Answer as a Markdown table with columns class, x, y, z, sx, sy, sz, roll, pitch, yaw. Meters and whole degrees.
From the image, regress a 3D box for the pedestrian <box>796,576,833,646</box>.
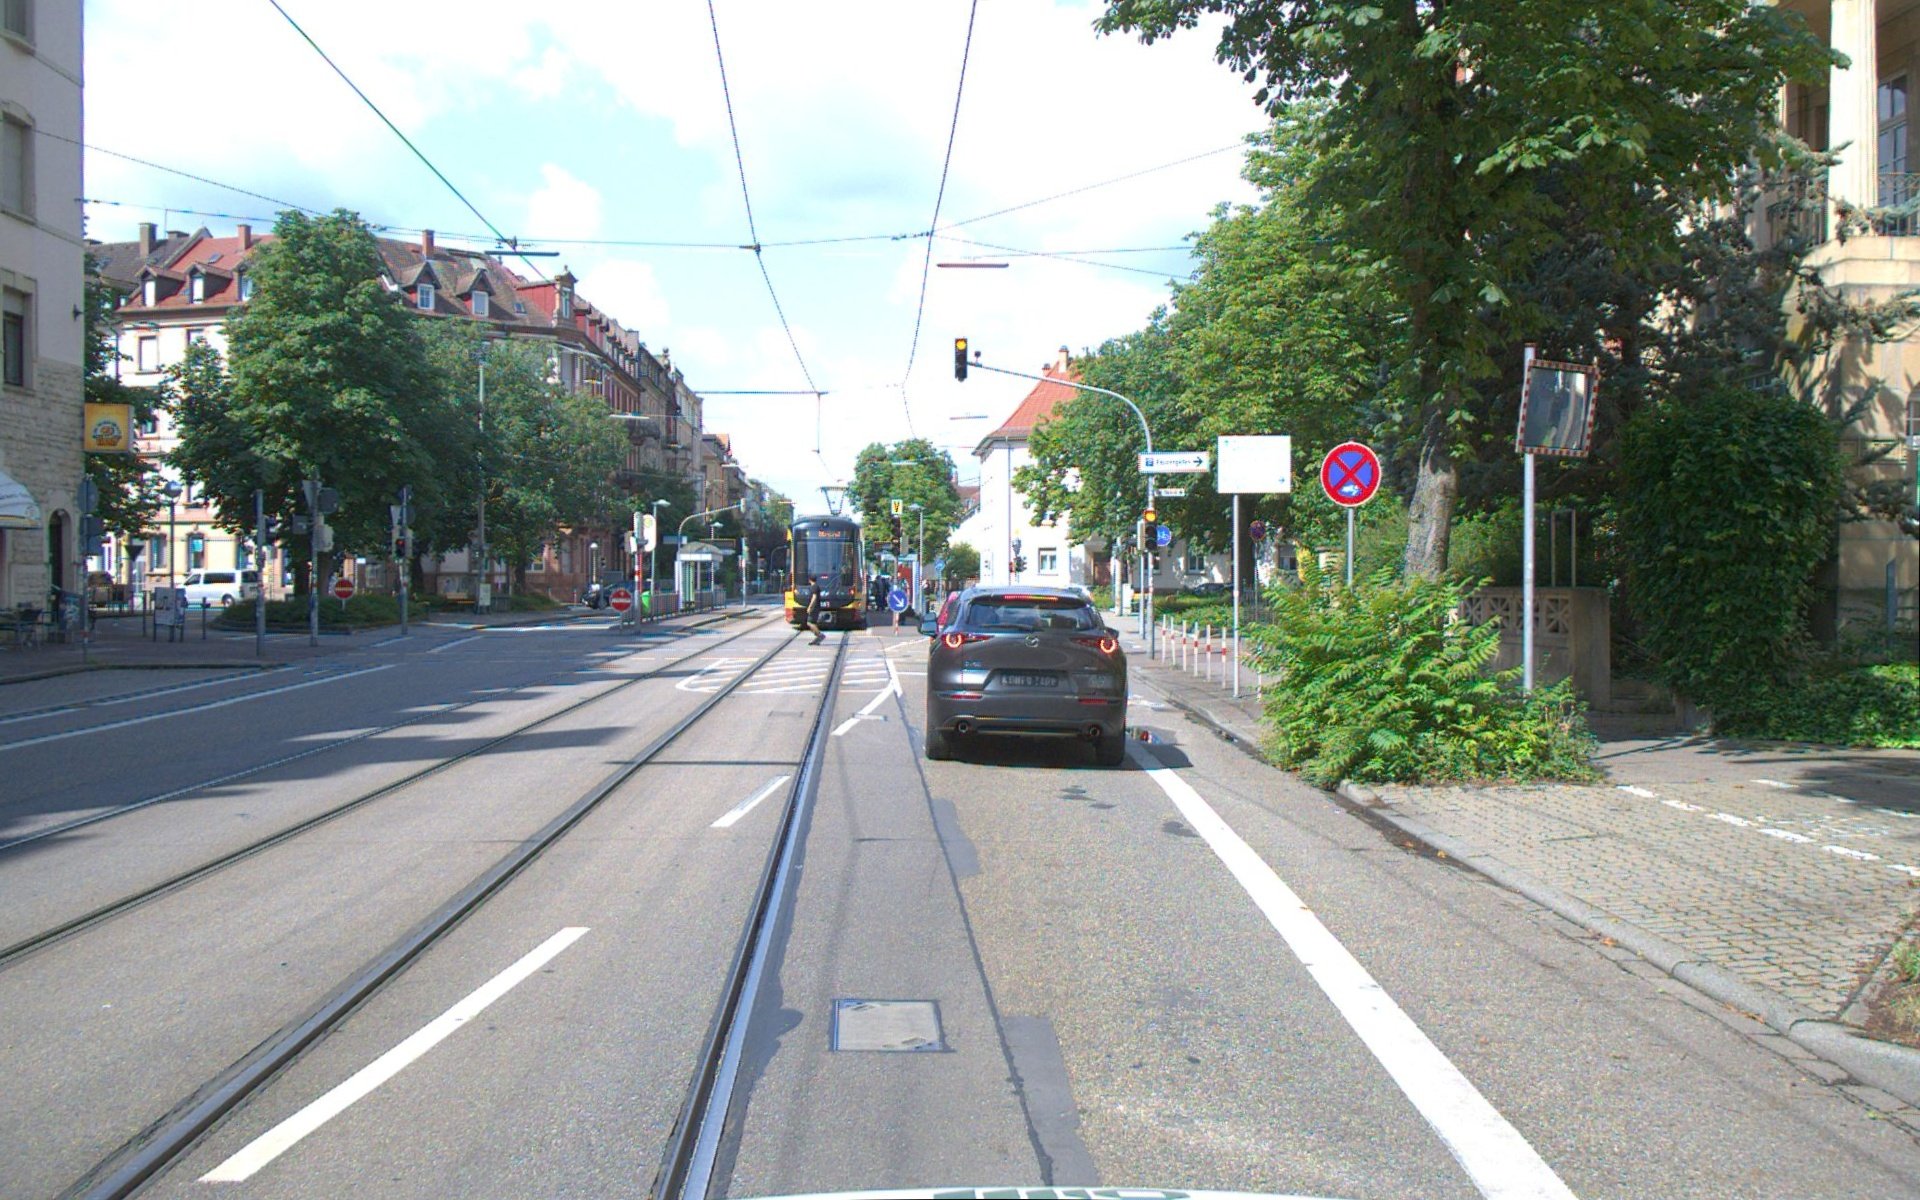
| class | x | y | z | sx | sy | sz | roll | pitch | yaw |
| --- | --- | --- | --- | --- | --- | --- | --- | --- | --- |
| pedestrian | -3.458 | 0.259 | 39.326 | 0.858 | 1.633 | 0.631 | 0 | 0 | -6 |

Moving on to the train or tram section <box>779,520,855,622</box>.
| class | x | y | z | sx | sy | sz | roll | pitch | yaw |
| --- | --- | --- | --- | --- | --- | --- | --- | --- | --- |
| train or tram section | -5.536 | -1.048 | 62.872 | 2.601 | 3.589 | 8.484 | -1 | 0 | -7 |

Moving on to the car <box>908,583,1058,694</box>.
| class | x | y | z | sx | sy | sz | roll | pitch | yaw |
| --- | --- | --- | --- | --- | --- | --- | --- | --- | --- |
| car | 0.251 | 0.510 | 25.594 | 1.750 | 1.518 | 4.877 | 0 | 1 | -6 |

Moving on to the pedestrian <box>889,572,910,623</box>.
| class | x | y | z | sx | sy | sz | roll | pitch | yaw |
| --- | --- | --- | --- | --- | --- | --- | --- | --- | --- |
| pedestrian | -1.981 | -0.083 | 53.931 | 0.654 | 1.633 | 0.699 | 0 | 0 | -5 |

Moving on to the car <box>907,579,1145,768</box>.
| class | x | y | z | sx | sy | sz | roll | pitch | yaw |
| --- | --- | --- | --- | --- | --- | --- | --- | --- | --- |
| car | 0.486 | 0.591 | 15.920 | 1.754 | 1.538 | 4.347 | 1 | 1 | -5 |

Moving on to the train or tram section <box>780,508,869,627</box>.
| class | x | y | z | sx | sy | sz | roll | pitch | yaw |
| --- | --- | --- | --- | --- | --- | --- | --- | --- | --- |
| train or tram section | -4.571 | -1.009 | 54.413 | 2.601 | 3.589 | 8.484 | -1 | 0 | -7 |

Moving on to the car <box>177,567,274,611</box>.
| class | x | y | z | sx | sy | sz | roll | pitch | yaw |
| --- | --- | --- | --- | --- | --- | --- | --- | --- | --- |
| car | -38.200 | -0.564 | 86.036 | 4.033 | 2.048 | 2.002 | -3 | 0 | 6 |

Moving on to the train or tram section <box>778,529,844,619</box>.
| class | x | y | z | sx | sy | sz | roll | pitch | yaw |
| --- | --- | --- | --- | --- | --- | --- | --- | --- | --- |
| train or tram section | -6.499 | -1.071 | 71.302 | 2.601 | 3.589 | 8.484 | -1 | 0 | -7 |
